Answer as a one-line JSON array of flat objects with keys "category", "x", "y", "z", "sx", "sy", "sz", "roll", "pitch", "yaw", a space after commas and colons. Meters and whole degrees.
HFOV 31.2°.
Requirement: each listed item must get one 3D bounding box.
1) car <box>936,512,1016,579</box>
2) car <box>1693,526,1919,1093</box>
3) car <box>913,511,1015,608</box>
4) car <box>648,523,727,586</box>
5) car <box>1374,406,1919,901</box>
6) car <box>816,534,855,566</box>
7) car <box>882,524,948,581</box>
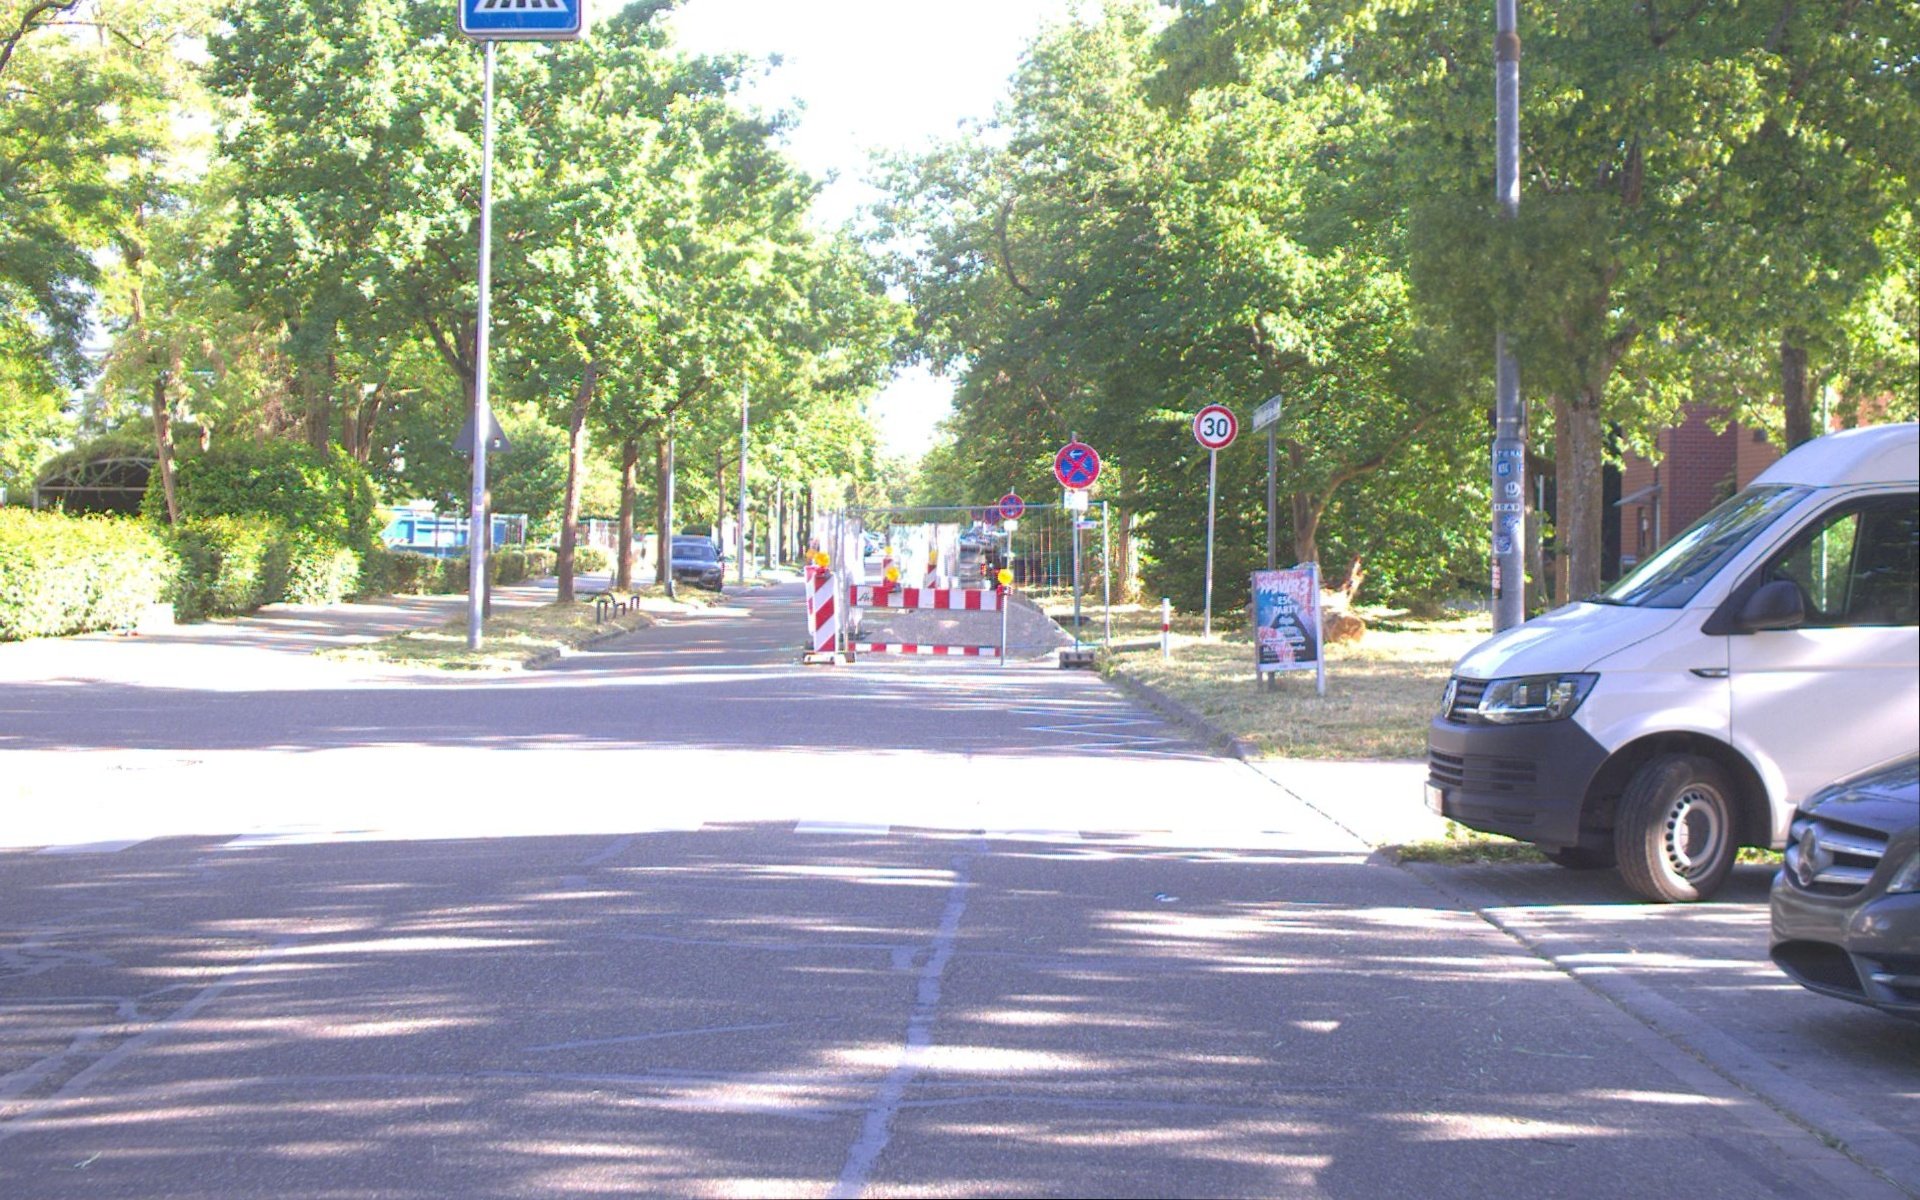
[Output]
[{"category": "car", "x": 0.408, "y": -1.469, "z": 92.434, "sx": 1.993, "sy": 1.711, "sz": 4.000, "roll": 1, "pitch": 1, "yaw": -1}, {"category": "car", "x": 4.594, "y": 0.607, "z": 10.533, "sx": 4.212, "sy": 1.563, "sz": 1.934, "roll": 1, "pitch": 1, "yaw": -2}, {"category": "car", "x": 0.055, "y": -0.849, "z": 72.008, "sx": 1.993, "sy": 1.926, "sz": 4.000, "roll": 1, "pitch": 1, "yaw": -1}, {"category": "car", "x": -7.797, "y": -1.299, "z": 98.521, "sx": 1.993, "sy": 1.711, "sz": 4.000, "roll": 1, "pitch": 1, "yaw": -1}, {"category": "car", "x": 4.638, "y": 0.225, "z": 15.689, "sx": 5.186, "sy": 2.098, "sz": 2.083, "roll": 0, "pitch": 1, "yaw": -2}, {"category": "car", "x": -6.728, "y": -2.716, "z": 186.150, "sx": 1.993, "sy": 1.711, "sz": 4.000, "roll": 1, "pitch": 1, "yaw": -1}, {"category": "car", "x": -1.422, "y": -1.505, "z": 108.182, "sx": 1.993, "sy": 1.711, "sz": 4.000, "roll": 1, "pitch": 1, "yaw": -1}]
